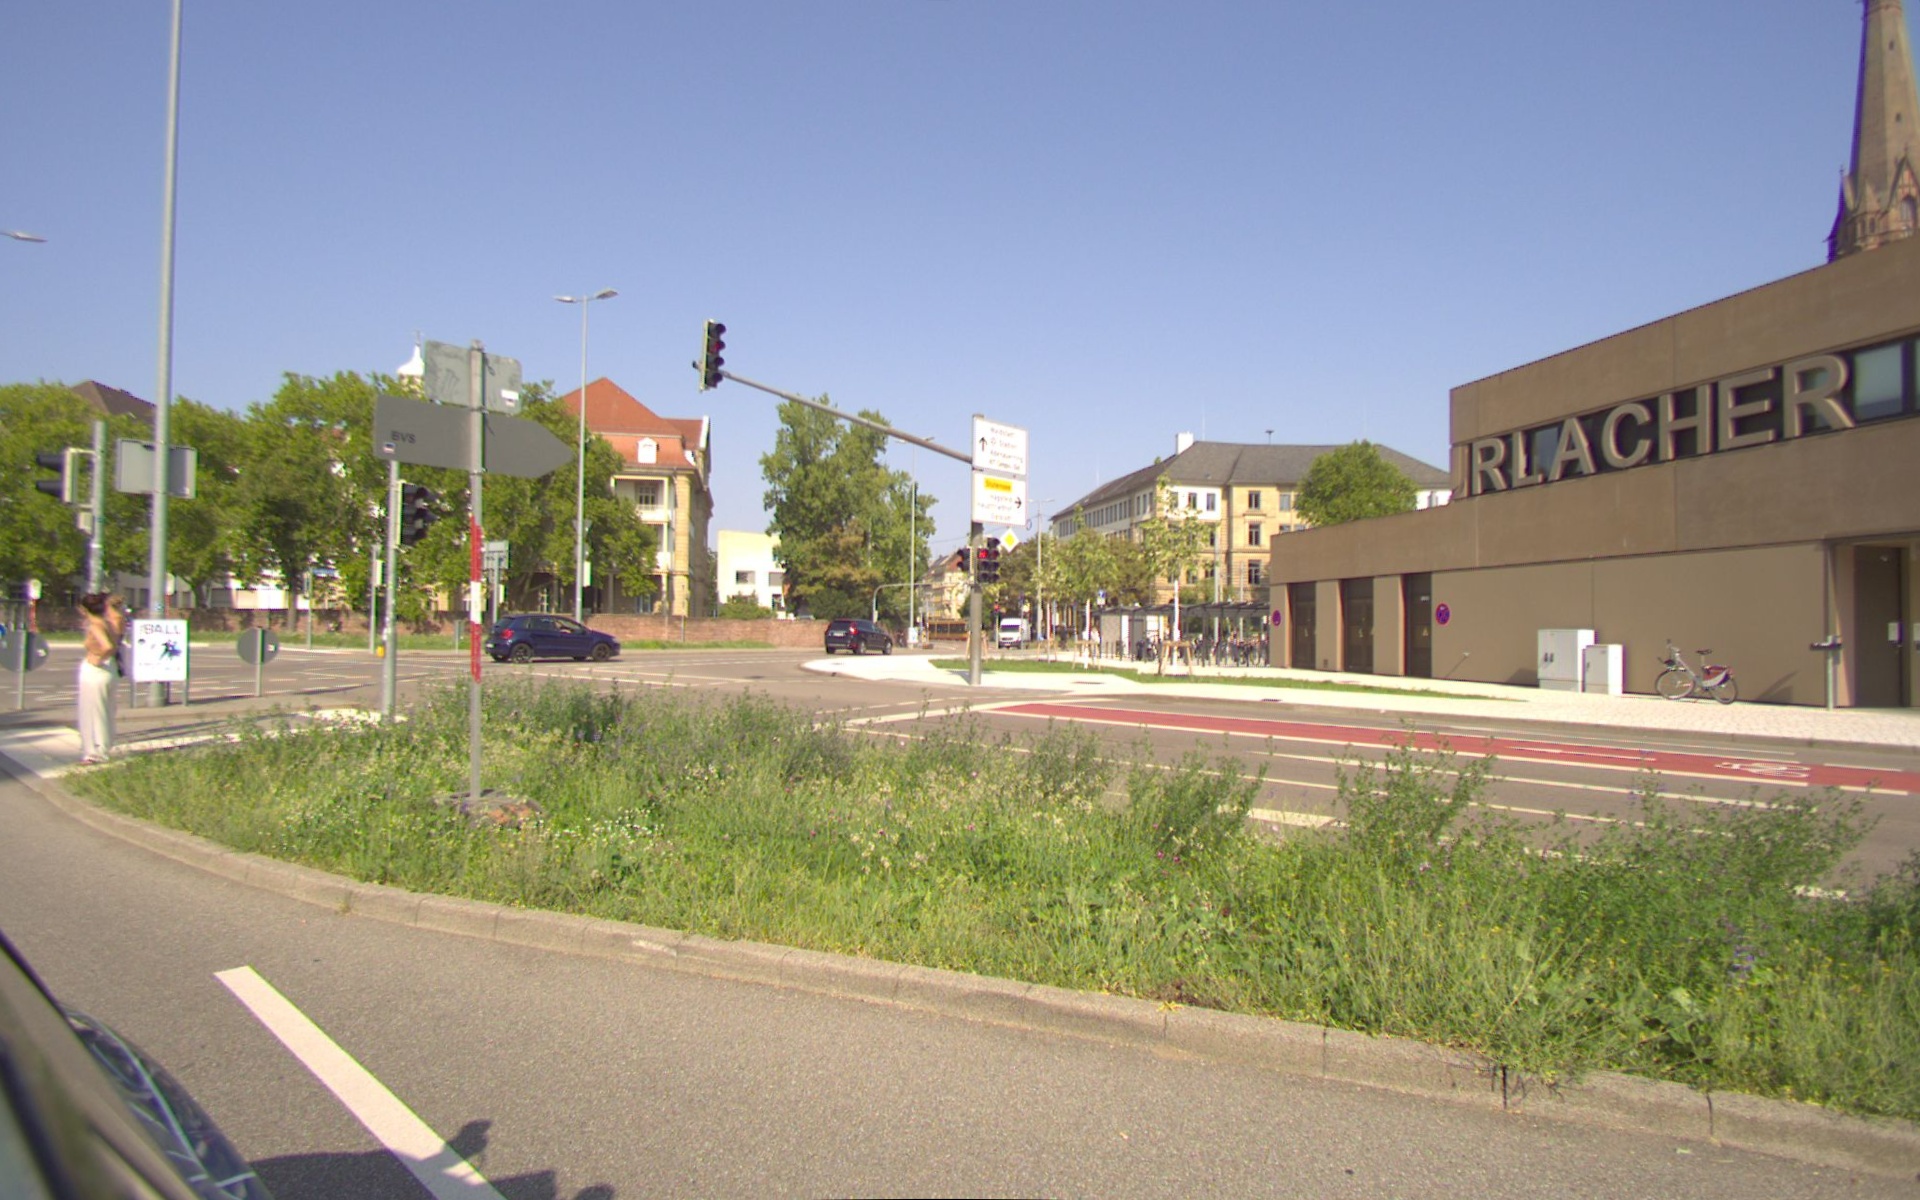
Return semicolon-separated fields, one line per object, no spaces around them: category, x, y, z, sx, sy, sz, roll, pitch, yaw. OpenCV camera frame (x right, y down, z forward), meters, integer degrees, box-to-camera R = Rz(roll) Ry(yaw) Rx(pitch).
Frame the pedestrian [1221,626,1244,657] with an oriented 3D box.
pedestrian;15.809;2.381;58.727;0.847;1.774;1.010;2;-2;-26

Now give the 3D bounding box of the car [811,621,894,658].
car;-4.985;1.845;47.579;1.988;1.646;4.336;0;-2;24

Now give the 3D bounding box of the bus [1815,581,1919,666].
bus;36.138;0.761;33.344;3.245;3.000;12.827;1;-2;-12

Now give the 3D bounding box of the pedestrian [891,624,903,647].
pedestrian;-5.712;3.214;91.704;0.819;2.029;0.808;-1;0;32

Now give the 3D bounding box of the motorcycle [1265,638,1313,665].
motorcycle;15.192;2.376;46.813;0.746;1.214;2.382;1;-2;-21

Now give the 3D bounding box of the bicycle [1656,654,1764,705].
bicycle;13.634;1.429;18.458;0.583;0.844;1.551;-2;-2;-11

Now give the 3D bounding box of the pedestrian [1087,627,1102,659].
pedestrian;8.523;2.720;64.097;0.853;2.029;1.004;0;-2;10

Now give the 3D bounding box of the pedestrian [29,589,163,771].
pedestrian;-8.276;0.748;9.735;0.657;1.667;0.781;1;-2;-15

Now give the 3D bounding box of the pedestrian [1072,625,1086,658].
pedestrian;7.563;2.640;64.318;0.853;2.029;1.004;0;-2;10

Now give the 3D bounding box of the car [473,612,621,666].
car;-12.424;1.178;30.534;3.789;1.509;1.628;2;-2;-40

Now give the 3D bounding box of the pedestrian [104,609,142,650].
pedestrian;-42.206;1.471;51.036;1.313;2.029;1.068;-1;-1;30

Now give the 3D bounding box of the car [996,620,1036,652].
car;4.763;2.988;85.371;1.983;2.470;5.519;-1;0;18

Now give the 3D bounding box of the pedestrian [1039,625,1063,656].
pedestrian;6.067;2.665;67.217;1.206;2.029;1.331;-1;-2;27

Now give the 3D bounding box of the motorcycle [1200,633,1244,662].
motorcycle;13.659;2.453;52.941;0.776;1.460;2.778;1;-2;-20

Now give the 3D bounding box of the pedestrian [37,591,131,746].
pedestrian;-10.051;0.768;11.614;0.691;1.712;0.660;-1;-3;39

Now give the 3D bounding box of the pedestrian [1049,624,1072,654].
pedestrian;6.870;2.650;69.012;1.206;2.029;1.331;-1;-2;27
